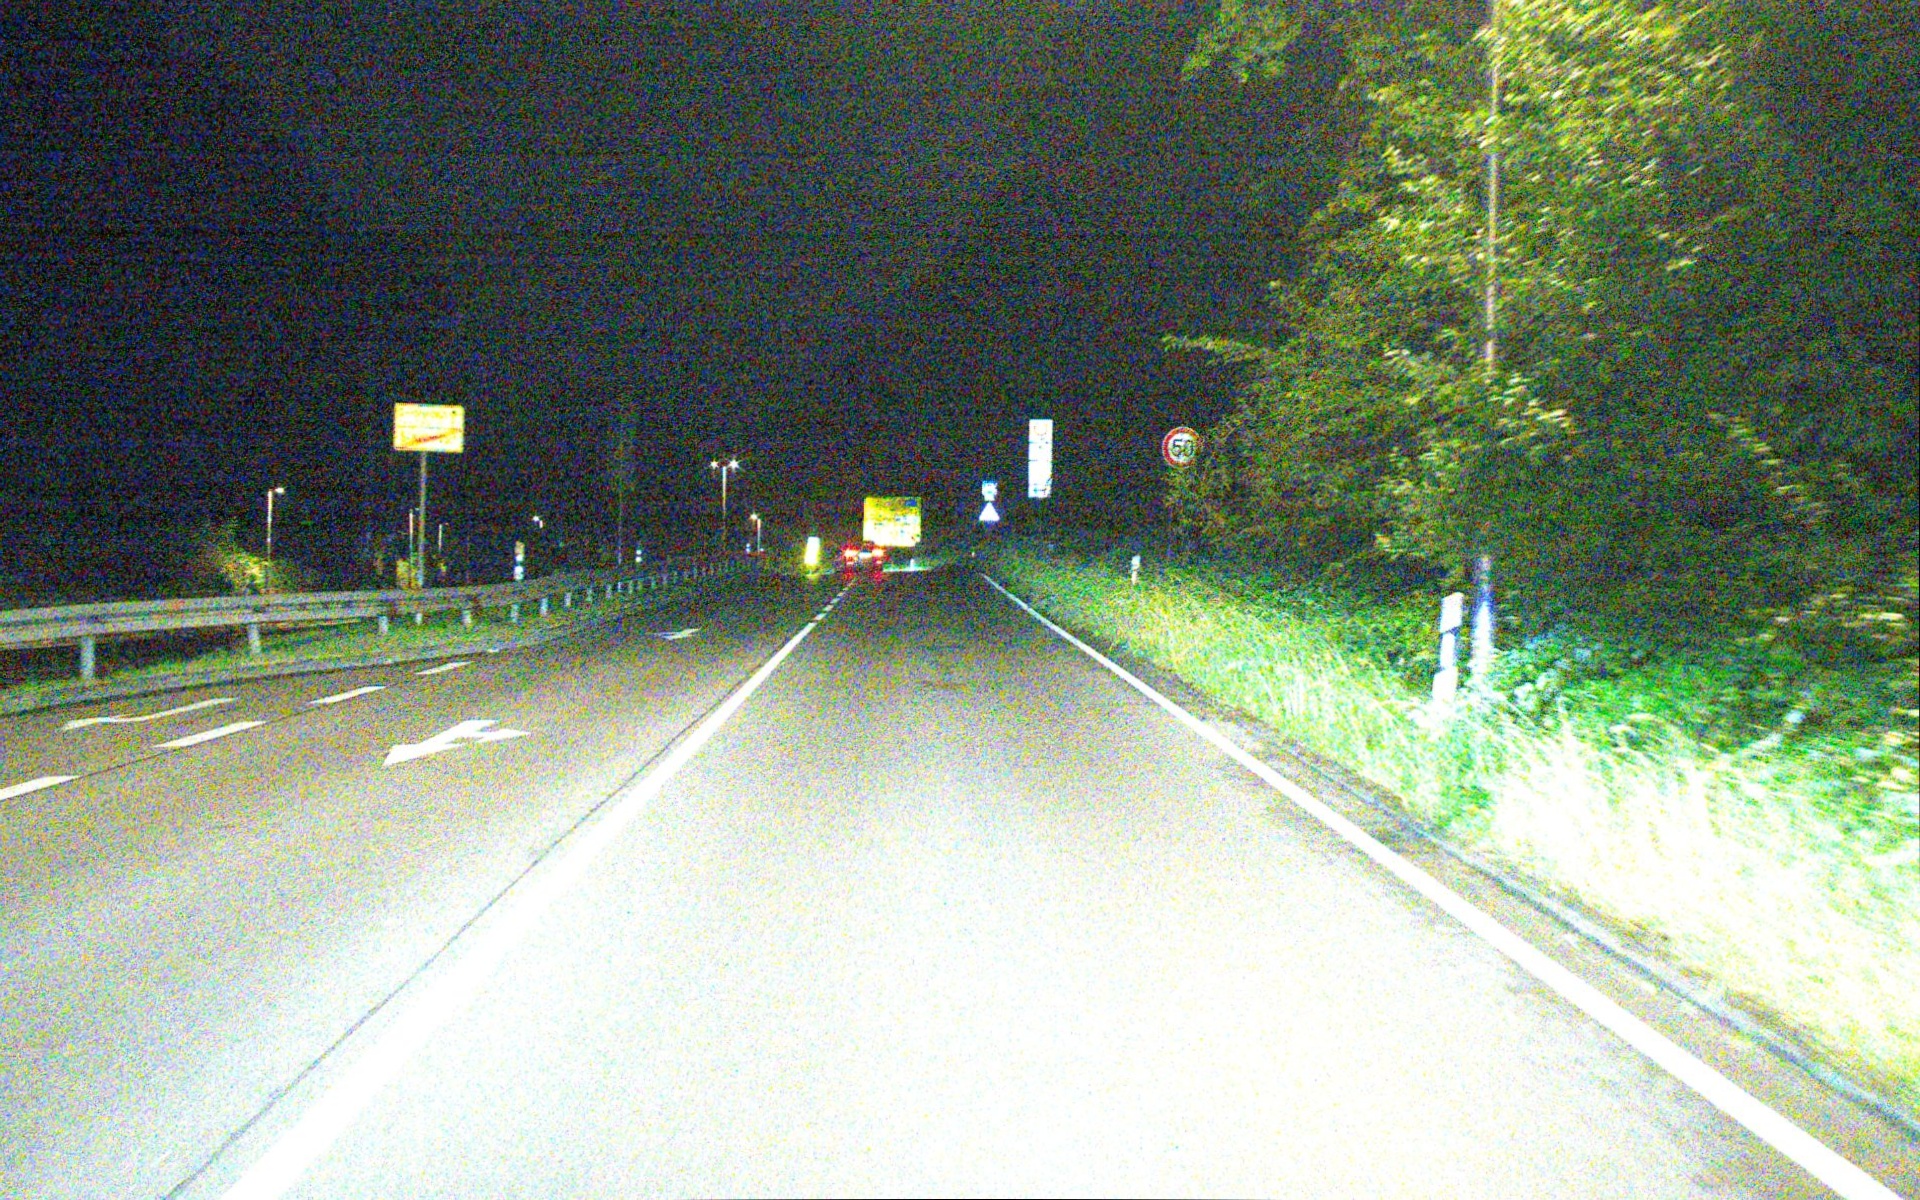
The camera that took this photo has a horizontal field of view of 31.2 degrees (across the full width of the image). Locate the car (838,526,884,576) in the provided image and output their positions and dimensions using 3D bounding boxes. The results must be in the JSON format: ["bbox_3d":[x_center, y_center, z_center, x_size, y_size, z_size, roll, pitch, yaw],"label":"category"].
[{"bbox_3d":[-4.519,-2.207,157.114,1.993,2.007,4.000,3,-2,-2],"label":"car"}]
